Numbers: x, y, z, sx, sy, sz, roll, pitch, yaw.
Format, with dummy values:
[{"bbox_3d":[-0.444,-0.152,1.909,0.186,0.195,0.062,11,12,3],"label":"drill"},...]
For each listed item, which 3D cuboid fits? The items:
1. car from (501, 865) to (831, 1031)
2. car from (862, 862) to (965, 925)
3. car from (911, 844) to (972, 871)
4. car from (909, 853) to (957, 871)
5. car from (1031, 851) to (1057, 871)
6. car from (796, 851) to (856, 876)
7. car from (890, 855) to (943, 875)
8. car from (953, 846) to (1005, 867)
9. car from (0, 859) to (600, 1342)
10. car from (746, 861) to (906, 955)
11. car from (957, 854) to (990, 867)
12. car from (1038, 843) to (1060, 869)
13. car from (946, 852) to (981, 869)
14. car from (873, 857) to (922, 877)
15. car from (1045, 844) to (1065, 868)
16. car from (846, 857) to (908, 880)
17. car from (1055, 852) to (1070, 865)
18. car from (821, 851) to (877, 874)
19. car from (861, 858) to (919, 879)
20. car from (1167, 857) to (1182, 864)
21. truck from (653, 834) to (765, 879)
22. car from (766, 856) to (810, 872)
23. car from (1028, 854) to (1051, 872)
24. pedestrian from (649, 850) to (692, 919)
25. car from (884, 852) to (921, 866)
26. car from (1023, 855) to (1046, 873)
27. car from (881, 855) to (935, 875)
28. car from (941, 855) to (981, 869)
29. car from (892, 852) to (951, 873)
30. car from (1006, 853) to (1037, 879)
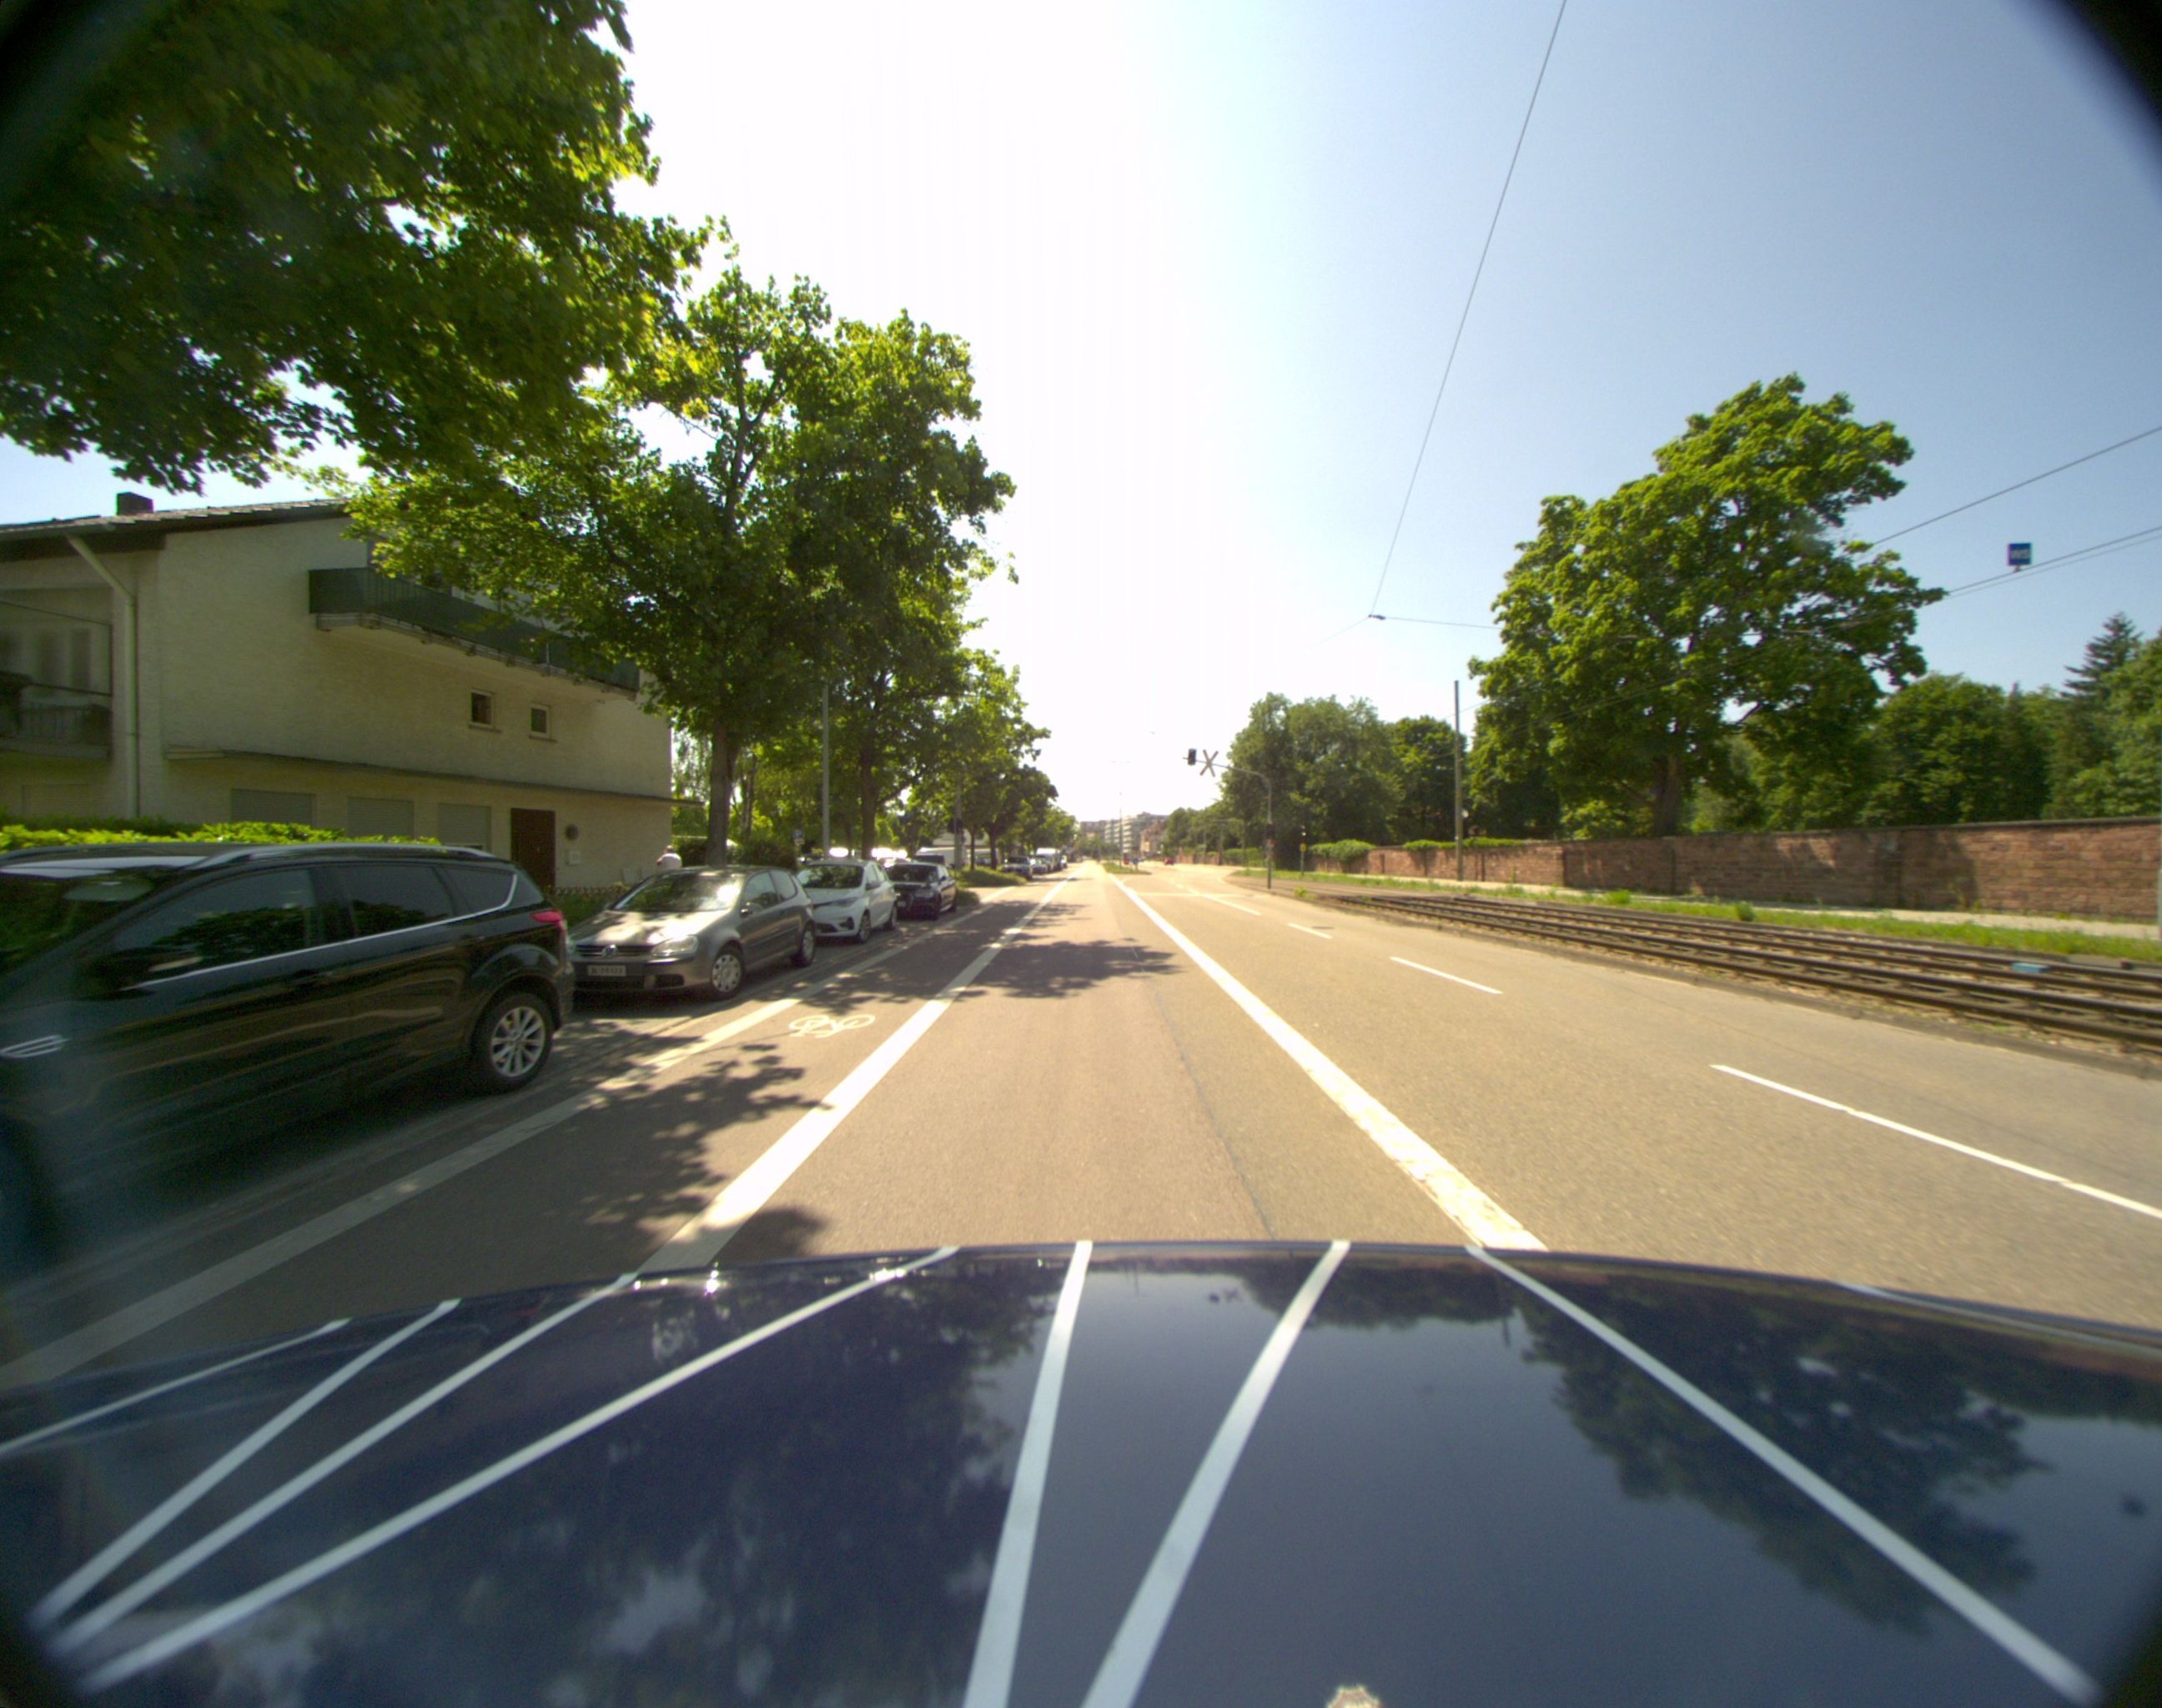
[{"bbox_3d":[-4.800,0.958,9.653,1.845,1.520,4.352,2,0,-2],"label":"car"},{"bbox_3d":[-4.477,0.997,21.060,1.845,1.427,4.824,2,0,-1],"label":"car"},{"bbox_3d":[-13.870,0.325,75.620,5.503,2.445,2.095,-2,0,2],"label":"car"},{"bbox_3d":[-13.633,0.761,70.325,4.031,1.482,1.770,-2,0,-1],"label":"car"},{"bbox_3d":[-3.618,0.714,75.801,2.002,1.867,5.277,2,0,3],"label":"car"},{"bbox_3d":[-26.536,0.953,79.289,5.503,2.445,2.095,1,0,2],"label":"car"},{"bbox_3d":[-14.001,0.900,64.724,4.031,1.482,1.770,-2,0,-1],"label":"car"},{"bbox_3d":[-13.405,0.356,100.272,6.355,2.514,2.264,-2,0,4],"label":"car"},{"bbox_3d":[-4.832,0.916,3.711,1.845,1.696,4.627,2,0,2],"label":"car"},{"bbox_3d":[-4.873,0.946,15.179,1.845,1.520,4.205,2,0,-2],"label":"car"},{"bbox_3d":[-13.757,0.862,97.434,3.896,1.463,1.727,-2,0,-1],"label":"car"},{"bbox_3d":[-3.404,0.249,82.735,2.002,2.621,6.143,2,0,1],"label":"car"},{"bbox_3d":[-13.830,0.757,89.696,3.790,1.773,1.953,-2,0,-3],"label":"car"},{"bbox_3d":[-14.405,1.005,59.795,3.342,1.420,1.682,-2,0,2],"label":"car"},{"bbox_3d":[-3.033,0.217,89.480,2.002,2.621,6.079,2,0,1],"label":"car"},{"bbox_3d":[-14.491,1.013,54.189,3.870,1.481,1.770,-2,0,-1],"label":"car"},{"bbox_3d":[-2.641,0.639,112.246,1.884,1.905,5.125,2,0,2],"label":"car"},{"bbox_3d":[-25.993,0.977,85.248,5.503,2.445,2.095,1,0,2],"label":"car"},{"bbox_3d":[-14.313,1.071,57.028,3.869,1.350,1.770,-2,0,2],"label":"car"},{"bbox_3d":[18.565,1.312,150.453,1.707,1.405,4.289,-1,0,26],"label":"car"},{"bbox_3d":[-27.143,0.153,55.608,6.964,3.067,2.424,1,0,0],"label":"truck"},{"bbox_3d":[-27.275,0.927,70.812,3.342,1.420,1.682,1,0,3],"label":"car"},{"bbox_3d":[-3.812,0.821,70.087,1.716,1.532,3.841,2,0,3],"label":"car"},{"bbox_3d":[-10.499,0.760,19.433,0.749,1.712,0.632,-1,1,-5],"label":"pedestrian"},{"bbox_3d":[-26.063,0.686,110.979,4.929,1.889,1.909,1,0,0],"label":"car"},{"bbox_3d":[-3.906,0.801,64.953,1.717,1.410,4.708,2,0,-1],"label":"car"},{"bbox_3d":[-14.133,0.874,62.224,4.031,1.482,1.770,-2,0,-1],"label":"car"},{"bbox_3d":[-13.654,0.924,86.560,4.287,1.397,1.727,-2,0,-1],"label":"car"},{"bbox_3d":[-14.206,0.747,67.793,4.703,1.635,1.954,-2,0,2],"label":"car"},{"bbox_3d":[-4.097,0.779,52.893,1.716,1.623,4.708,2,1,1],"label":"car"}]
